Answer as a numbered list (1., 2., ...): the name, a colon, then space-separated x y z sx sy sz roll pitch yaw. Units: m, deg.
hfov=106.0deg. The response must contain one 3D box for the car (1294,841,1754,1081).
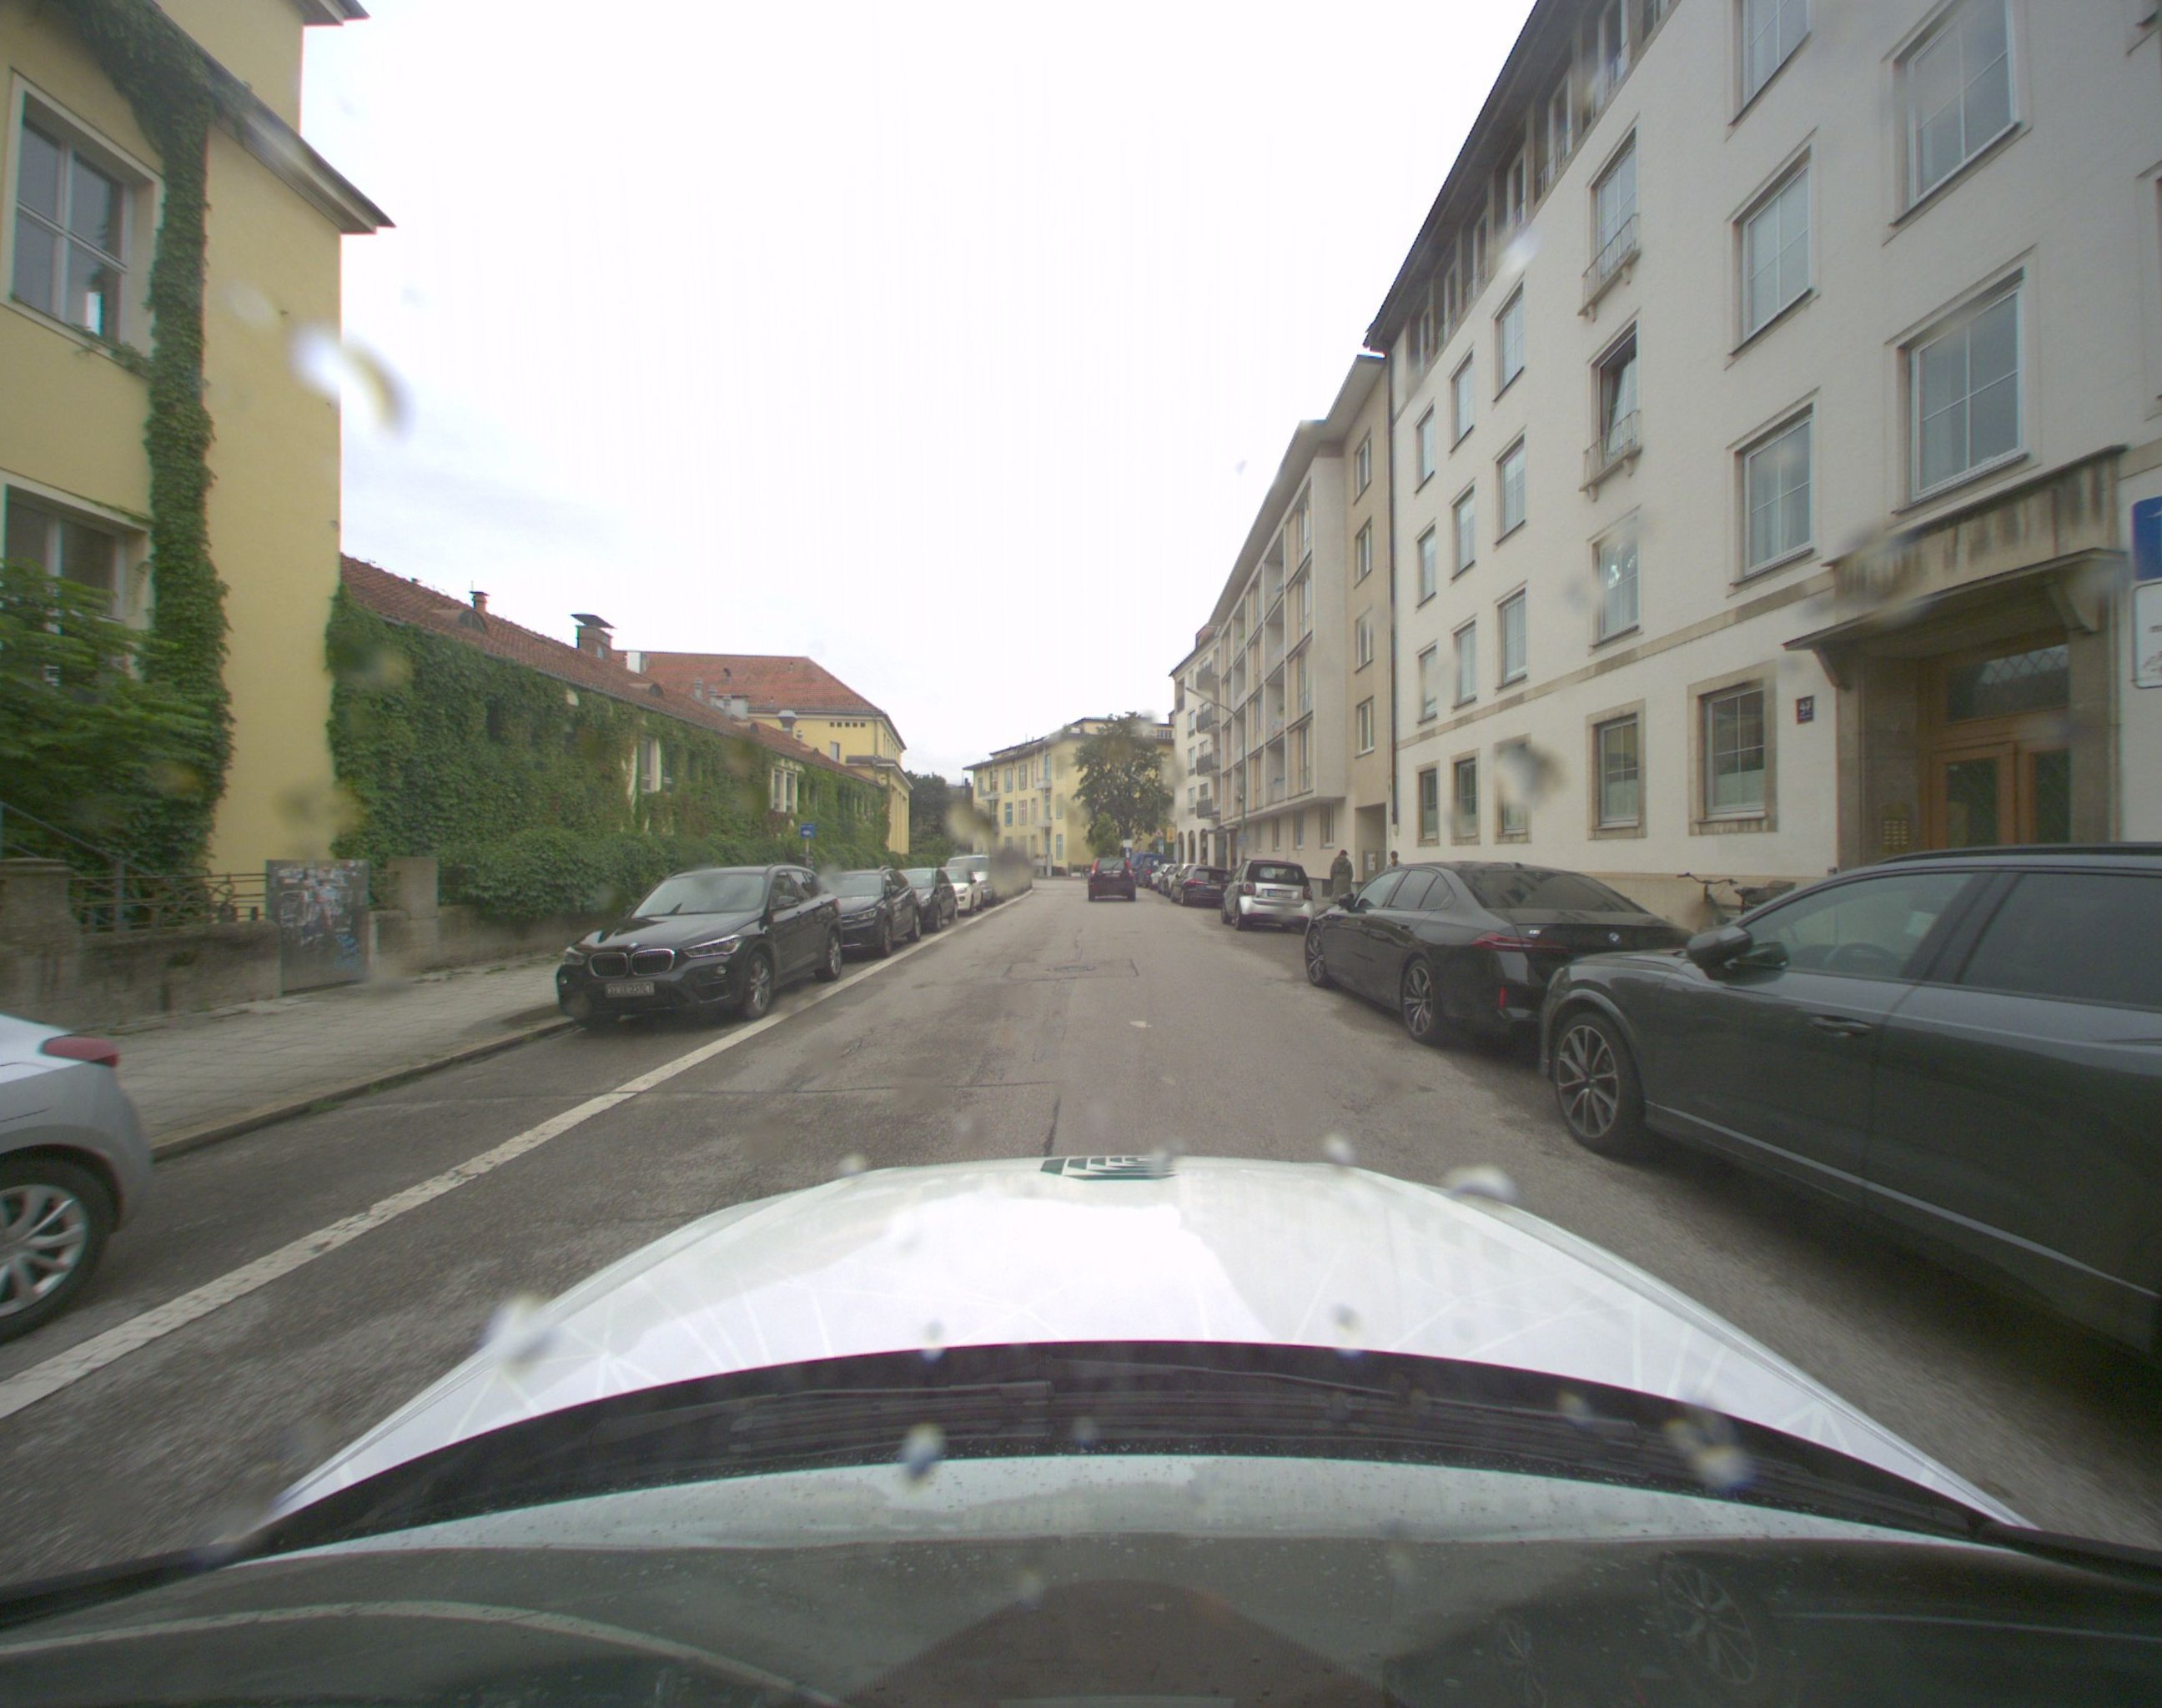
1. car: 3.596 0.729 7.850 1.849 1.544 4.816 2 0 1

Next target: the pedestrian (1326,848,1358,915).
1. pedestrian: 6.615 0.681 20.660 0.594 1.654 0.630 -1 -1 1

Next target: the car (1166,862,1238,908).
1. car: 4.220 1.033 29.035 1.790 1.420 4.481 3 0 -1

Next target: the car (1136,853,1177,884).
1. car: 4.627 0.865 50.484 1.959 1.816 4.933 -1 0 -1

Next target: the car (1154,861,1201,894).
1. car: 4.636 1.096 39.702 1.734 1.499 4.494 -1 0 -1

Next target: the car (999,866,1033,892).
1. car: -3.651 1.387 46.356 1.614 1.378 4.071 -1 0 0

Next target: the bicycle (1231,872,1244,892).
1. bicycle: 8.155 1.439 42.534 0.421 1.024 1.301 -1 -1 1

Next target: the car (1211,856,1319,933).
1. car: 4.167 0.855 19.013 1.665 1.535 3.882 3 0 1

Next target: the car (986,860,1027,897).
1. car: -3.690 1.164 41.074 1.614 1.730 4.424 -1 0 0

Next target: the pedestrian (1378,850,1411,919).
1. pedestrian: 7.306 0.697 18.989 0.529 1.585 0.560 -1 -1 1

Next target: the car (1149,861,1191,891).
1. car: 4.863 1.174 44.974 1.734 1.537 4.270 -1 0 -2

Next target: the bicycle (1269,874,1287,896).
1. bicycle: 8.717 1.351 36.007 0.443 0.936 1.401 -1 -1 1

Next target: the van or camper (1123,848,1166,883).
1. van or camper: 4.310 0.764 56.219 2.057 2.231 5.428 -1 0 -5

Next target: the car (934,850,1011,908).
1. car: -3.918 0.881 30.234 1.986 1.875 4.760 -3 -1 2

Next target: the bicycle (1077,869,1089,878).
1. bicycle: 0.274 2.294 95.937 0.611 1.072 2.200 -1 -1 -23

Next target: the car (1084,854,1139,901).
1. car: 1.245 0.874 32.166 1.987 1.694 4.384 -1 0 3

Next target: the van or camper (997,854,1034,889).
1. van or camper: -4.038 1.076 51.001 1.955 2.065 4.751 -1 0 -1

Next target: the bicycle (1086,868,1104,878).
1. bicycle: 1.621 2.163 93.827 2.189 1.117 0.614 -1 -1 42

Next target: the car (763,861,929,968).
1. car: -4.047 0.962 14.780 1.777 1.538 4.147 -3 0 -1

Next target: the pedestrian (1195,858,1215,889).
1. pedestrian: 6.889 1.074 45.364 0.895 1.688 1.319 -1 -1 -1

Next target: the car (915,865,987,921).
1. car: -3.923 1.138 25.059 1.574 1.492 3.728 -3 -1 -1

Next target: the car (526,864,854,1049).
1. car: -4.155 0.961 9.537 1.777 1.538 4.193 -4 0 -1

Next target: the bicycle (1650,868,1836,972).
1. bicycle: 8.053 0.748 10.054 0.656 1.126 2.028 -1 -1 1

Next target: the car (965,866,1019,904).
1. car: -3.843 1.315 35.850 1.695 1.423 4.426 -3 -1 2

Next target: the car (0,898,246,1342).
1. car: -4.444 0.953 1.506 1.674 1.426 3.894 -4 0 0

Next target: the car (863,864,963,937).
1. car: -3.951 1.043 19.703 1.574 1.455 3.902 -3 0 -1

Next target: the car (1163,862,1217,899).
1. car: 4.607 1.085 34.869 1.734 1.499 4.218 0 0 -1

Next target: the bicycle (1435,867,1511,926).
1. bicycle: 8.283 0.869 17.307 0.656 1.163 2.028 -1 -1 1

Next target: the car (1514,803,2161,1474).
1. car: 3.487 0.698 2.846 1.772 1.584 4.273 2 0 2
